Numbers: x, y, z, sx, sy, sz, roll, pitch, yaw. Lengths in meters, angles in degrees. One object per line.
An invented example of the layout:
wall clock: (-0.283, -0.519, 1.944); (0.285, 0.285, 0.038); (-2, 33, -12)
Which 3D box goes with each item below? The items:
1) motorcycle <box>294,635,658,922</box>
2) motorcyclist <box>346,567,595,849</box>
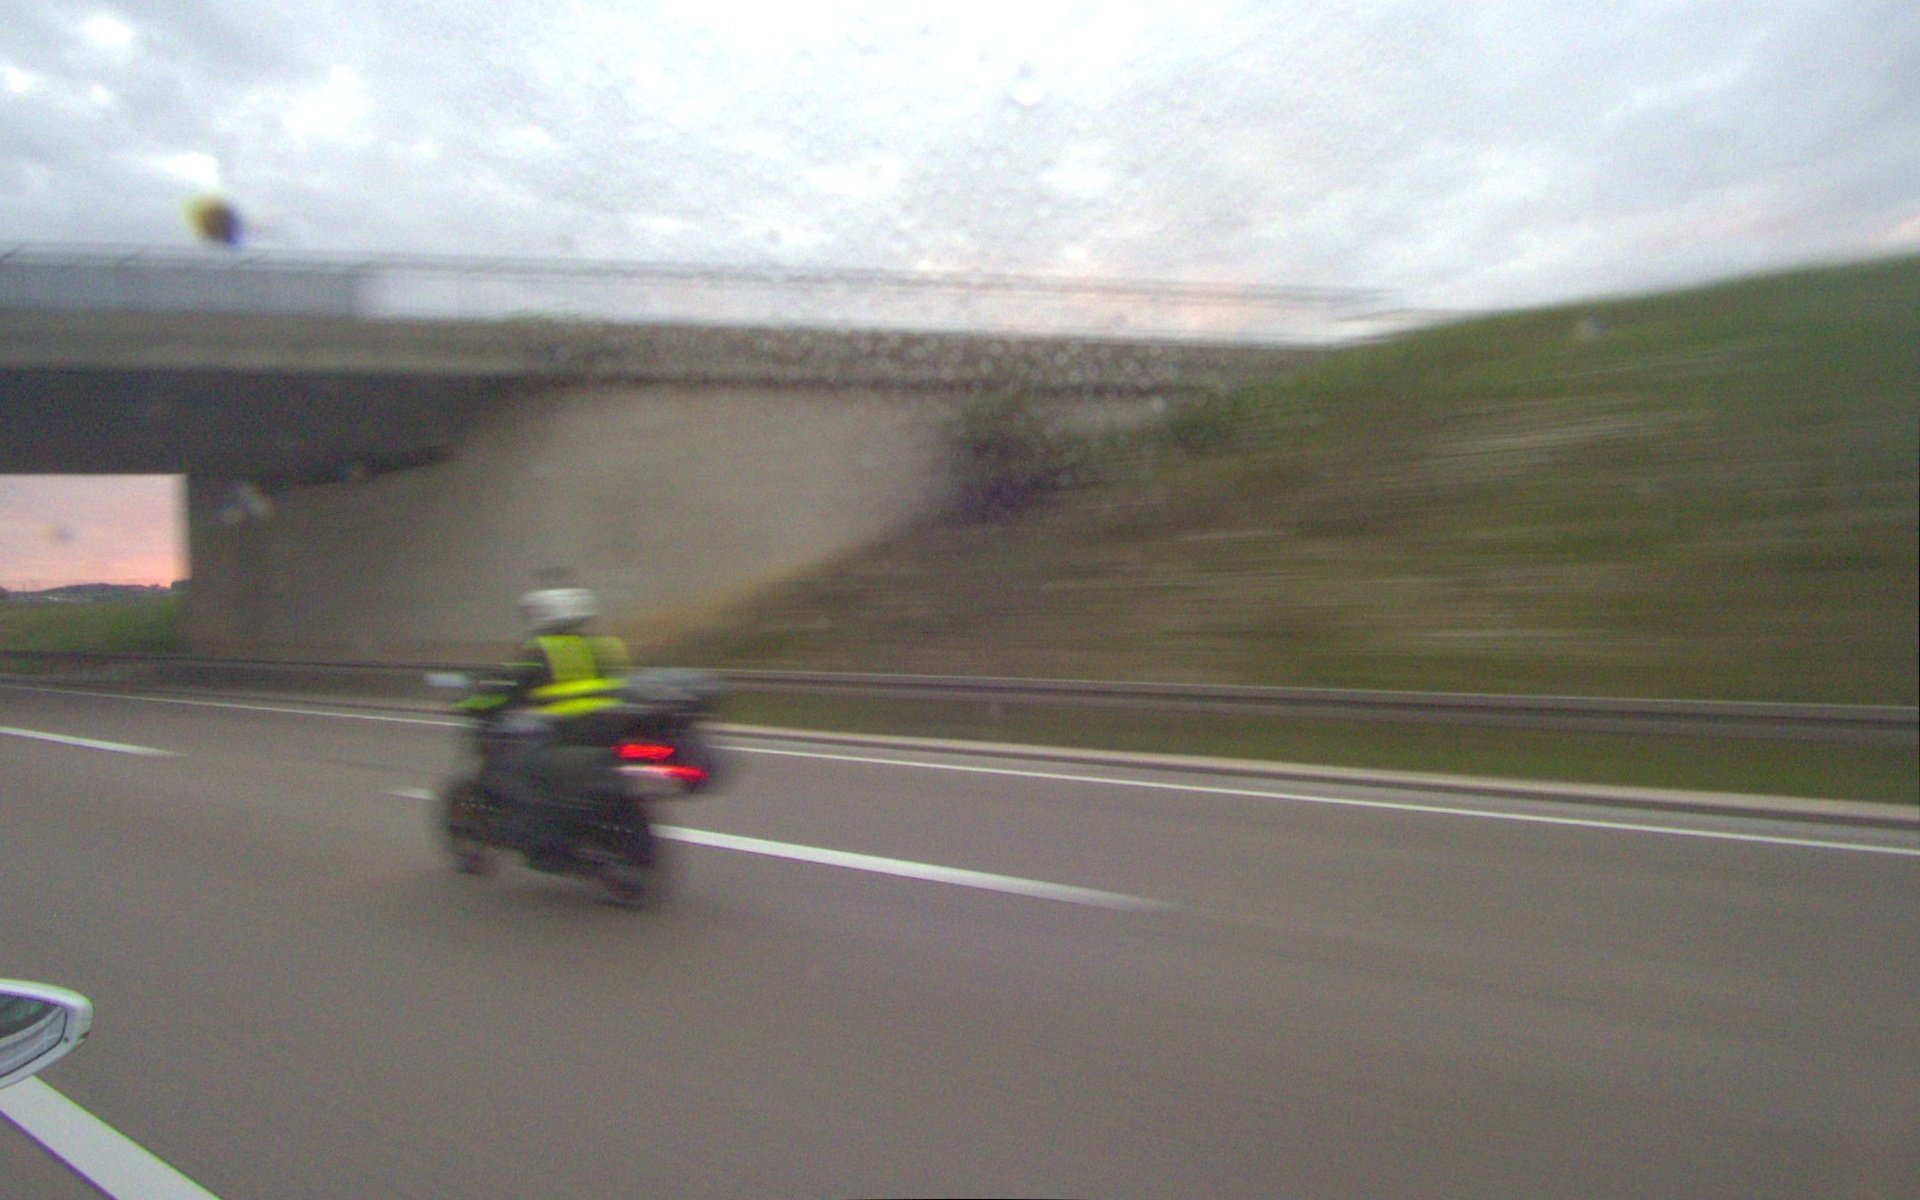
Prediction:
motorcycle: (-2.957, 0.930, 6.023); (2.315, 1.364, 0.900); (0, 0, 33)
motorcyclist: (-2.943, 0.590, 6.036); (1.152, 1.507, 0.864); (0, -1, 33)
